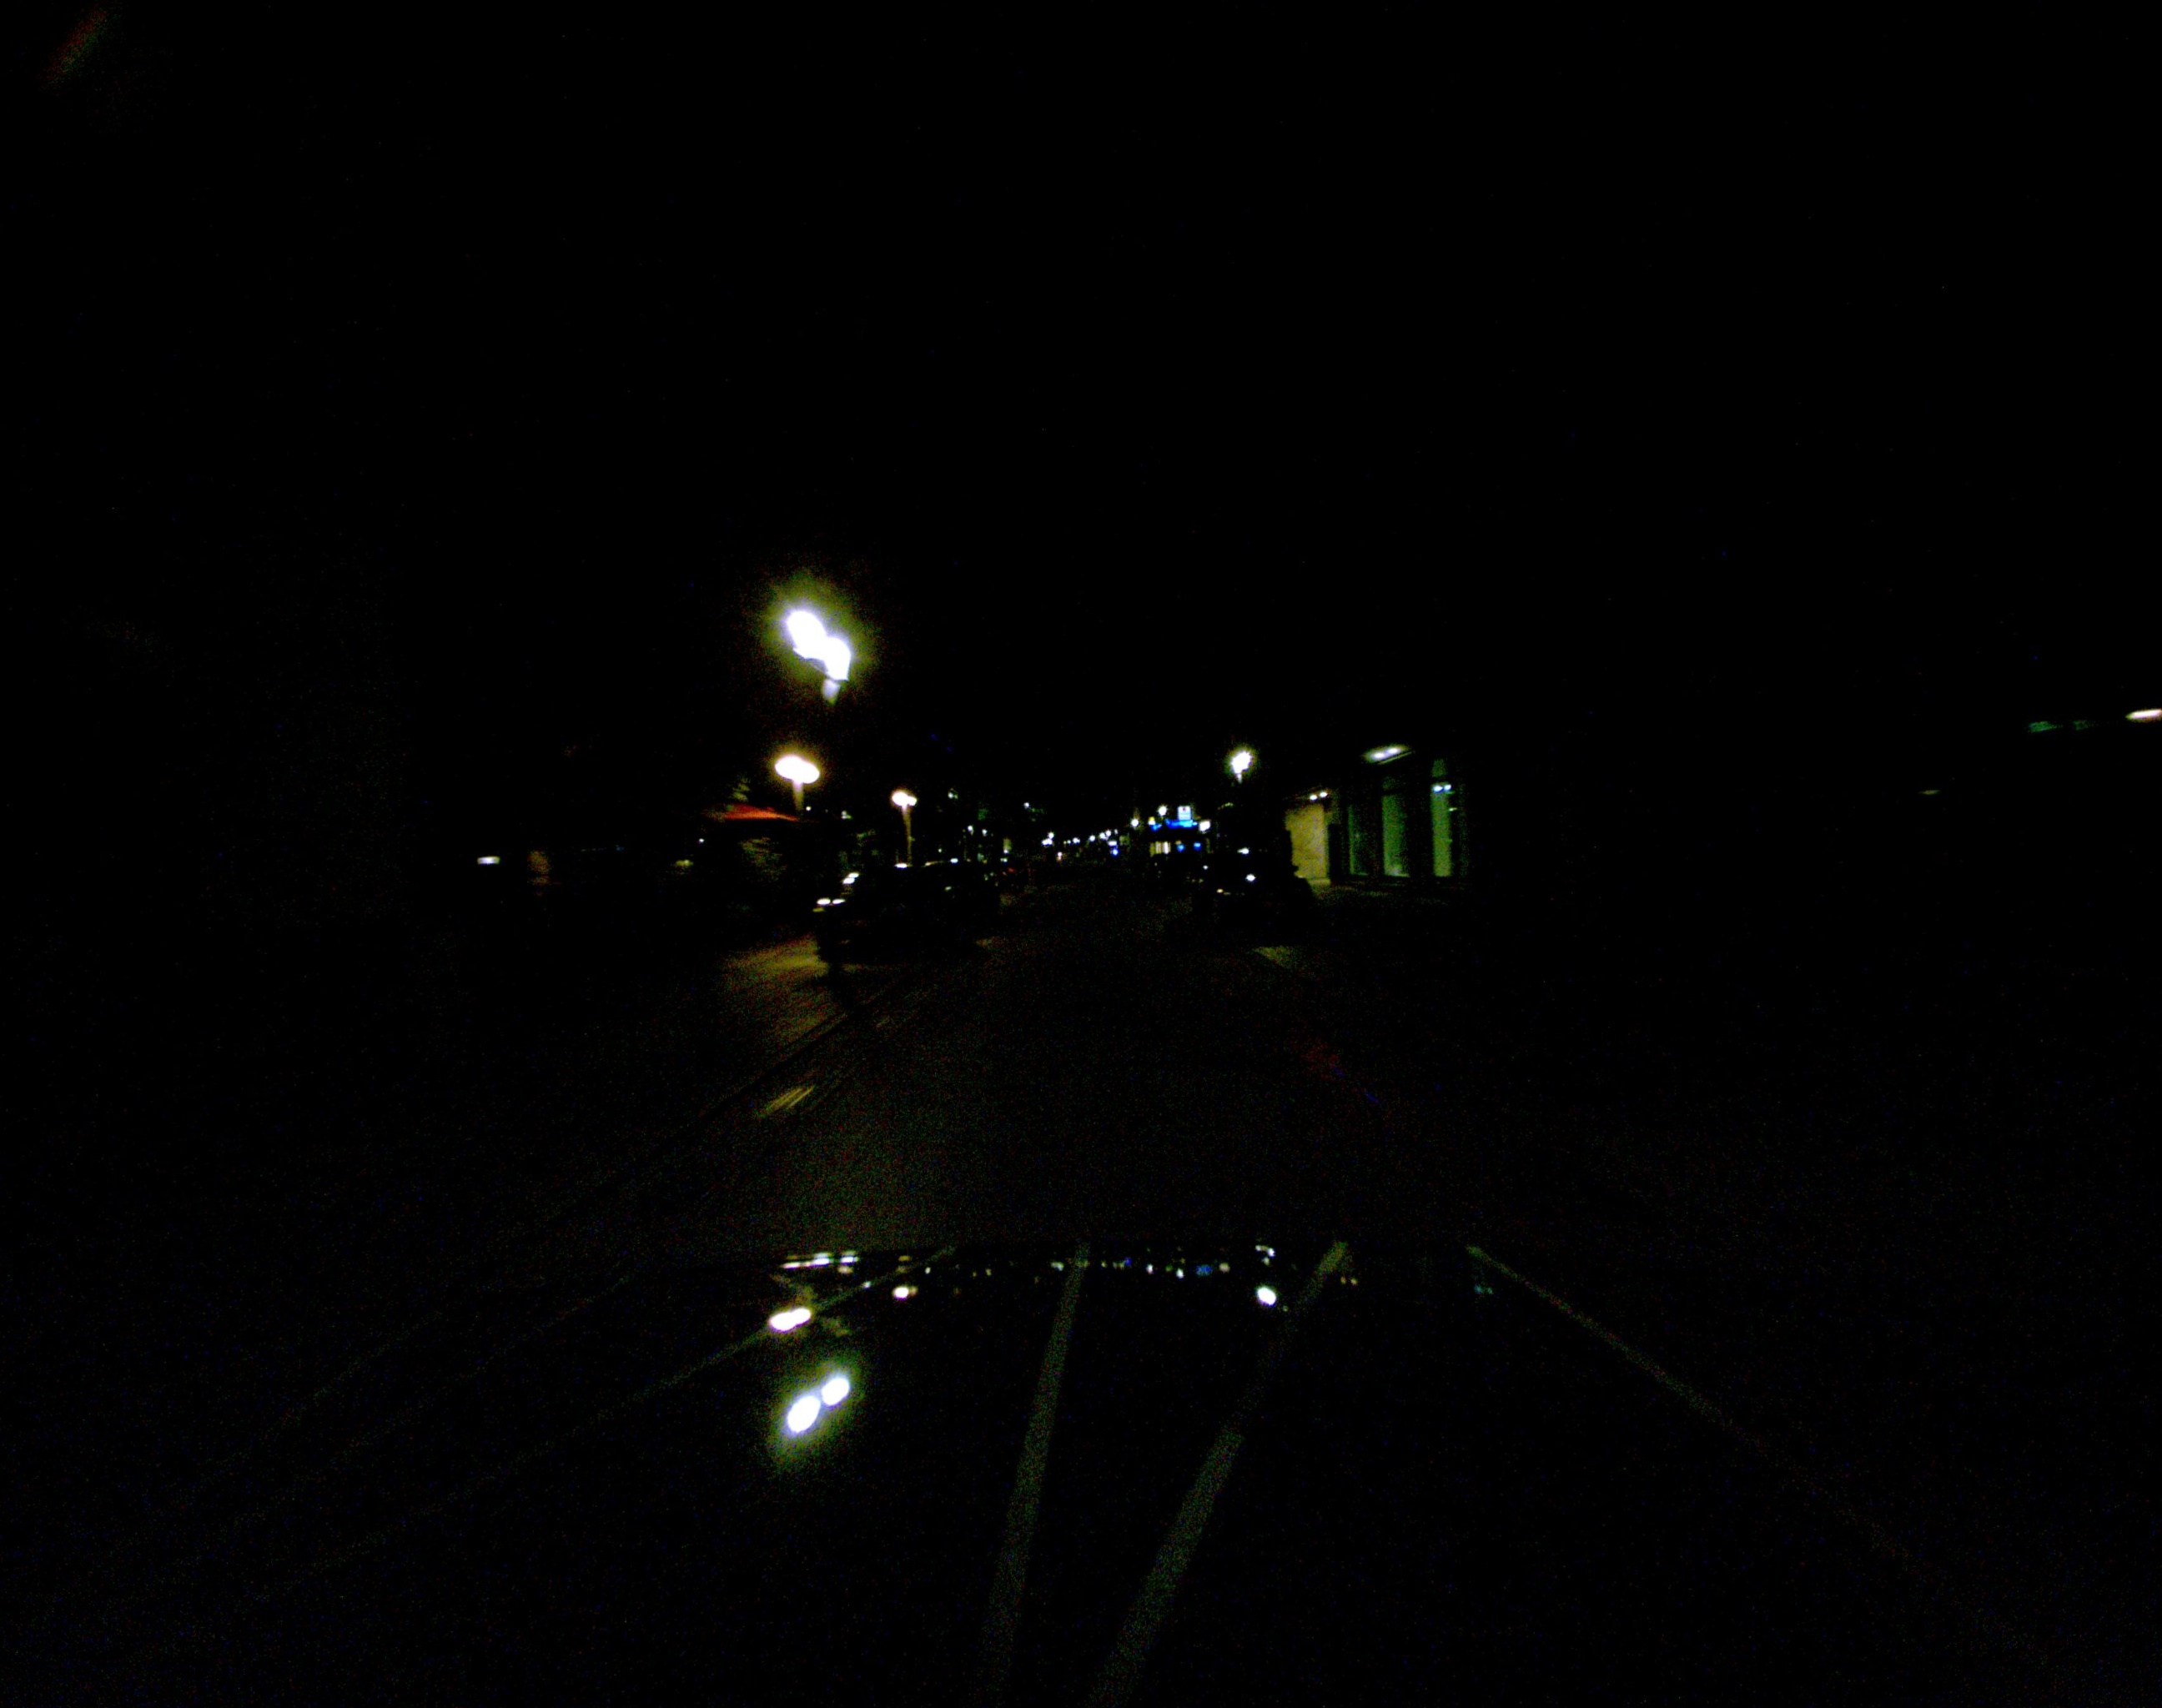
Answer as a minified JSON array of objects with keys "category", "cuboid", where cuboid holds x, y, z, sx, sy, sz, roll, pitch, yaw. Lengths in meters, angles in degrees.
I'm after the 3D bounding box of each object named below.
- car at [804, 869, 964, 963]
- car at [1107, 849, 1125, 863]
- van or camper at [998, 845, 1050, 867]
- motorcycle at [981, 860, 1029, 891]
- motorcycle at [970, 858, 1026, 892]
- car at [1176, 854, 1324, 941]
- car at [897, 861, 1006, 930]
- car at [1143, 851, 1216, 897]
[{"category":"car","cuboid":[-3.426,1.011,14.025,1.665,1.369,4.104,0,0,3]},{"category":"car","cuboid":[3.969,0.249,87.231,1.655,1.417,4.014,-4,0,-2]},{"category":"van or camper","cuboid":[-7.021,0.242,94.380,6.061,2.518,2.157,-2,0,-31]},{"category":"motorcycle","cuboid":[-3.315,0.919,32.955,2.165,1.290,0.516,-1,1,31]},{"category":"motorcycle","cuboid":[-3.492,0.883,31.828,2.266,1.383,0.662,-1,1,25]},{"category":"car","cuboid":[3.376,0.791,16.157,1.850,1.455,4.622,-3,0,-3]},{"category":"car","cuboid":[-3.110,0.943,19.183,1.757,1.455,4.467,0,0,3]},{"category":"car","cuboid":[3.524,0.671,28.022,1.905,1.462,4.524,-2,0,-2]}]
